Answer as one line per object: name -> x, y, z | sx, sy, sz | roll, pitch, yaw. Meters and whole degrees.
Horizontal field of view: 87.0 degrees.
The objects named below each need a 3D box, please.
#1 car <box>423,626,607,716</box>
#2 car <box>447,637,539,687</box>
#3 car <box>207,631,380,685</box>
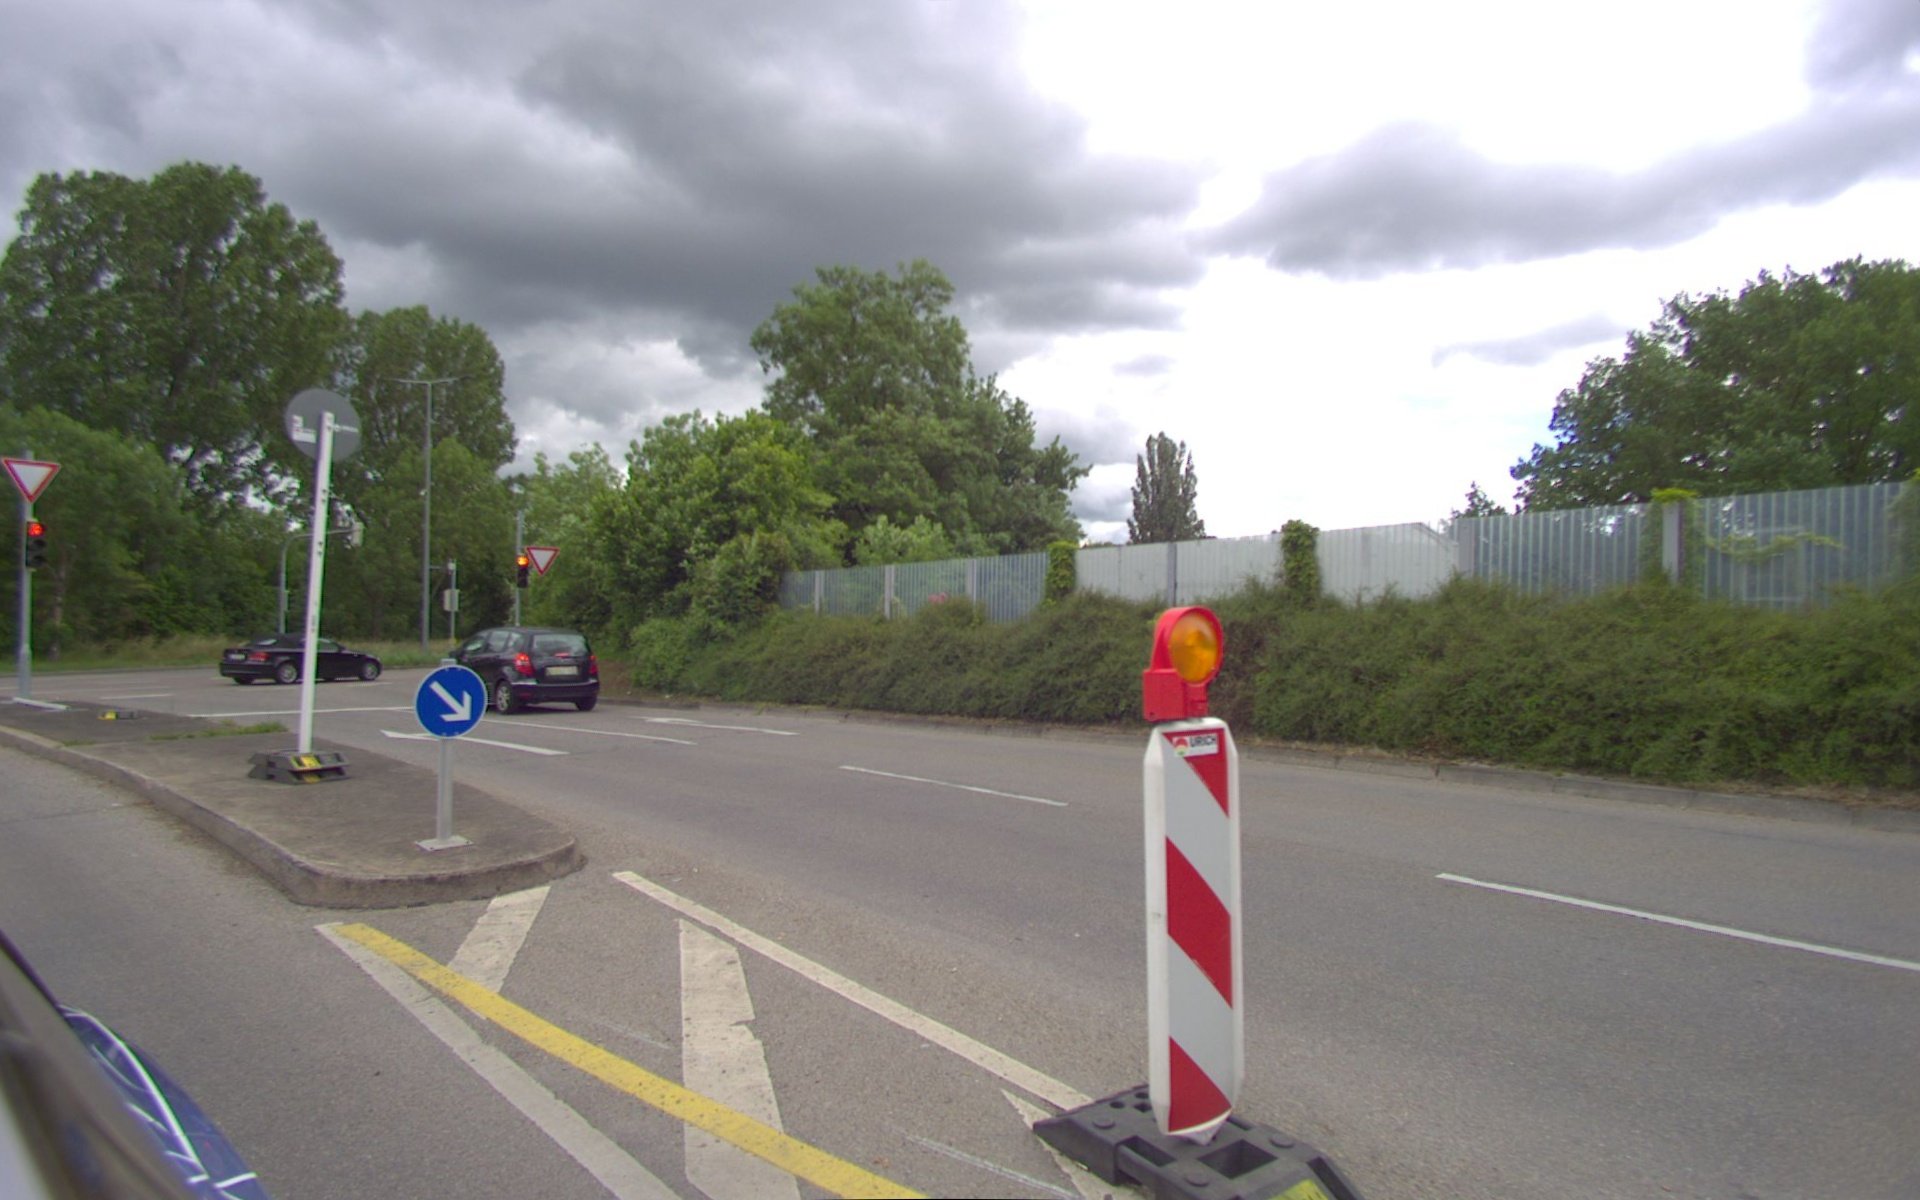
car -> -8.584, 1.313, 19.424 | 3.784, 1.564, 1.622 | -1, -4, 39
car -> -22.734, 2.976, 49.422 | 1.915, 2.009, 4.307 | 2, 1, 11
car -> -18.780, 1.597, 28.741 | 1.555, 1.378, 4.060 | -1, -2, 17
